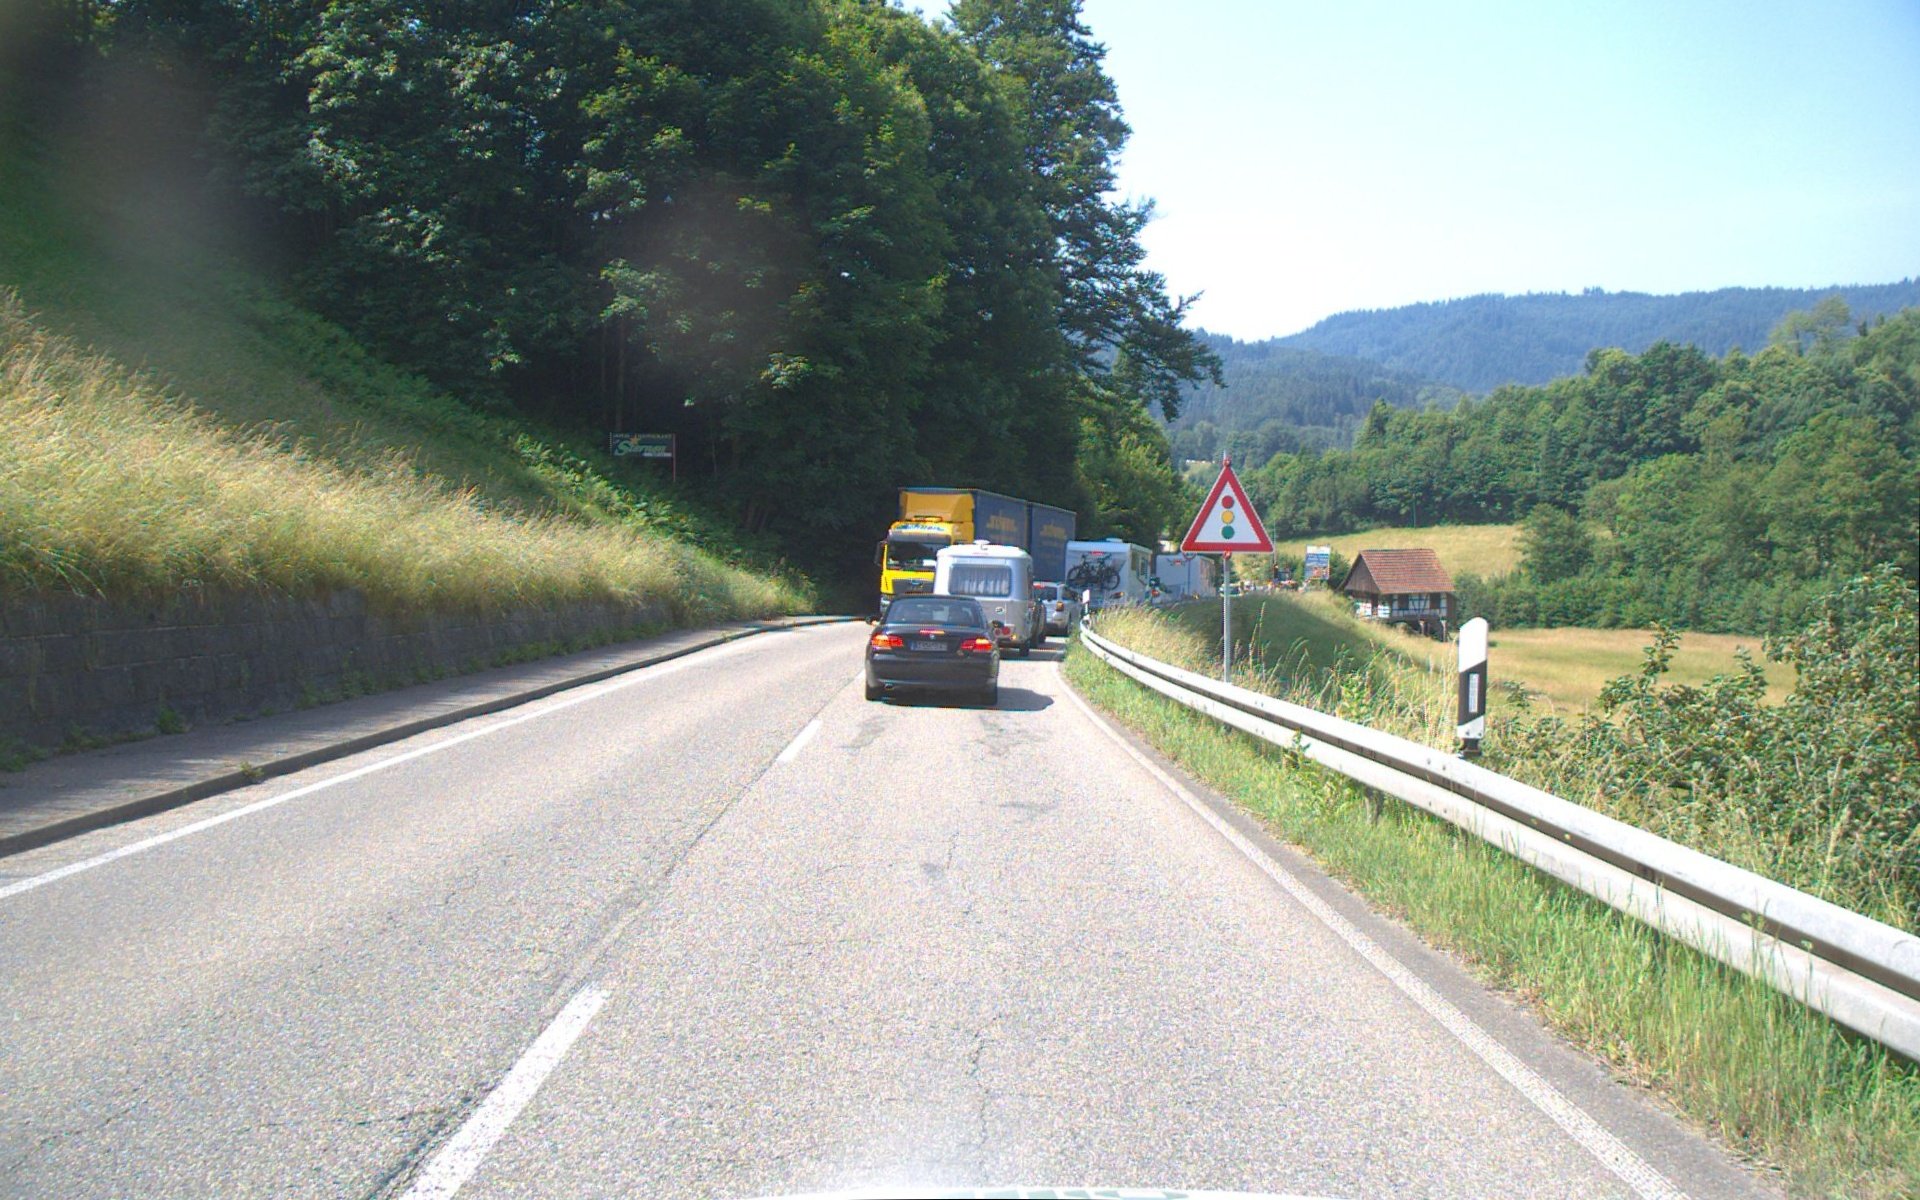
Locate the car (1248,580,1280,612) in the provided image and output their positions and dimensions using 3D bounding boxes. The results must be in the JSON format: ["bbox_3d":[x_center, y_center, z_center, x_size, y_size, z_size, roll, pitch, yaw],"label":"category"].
[{"bbox_3d":[20.684,-0.297,112.464,1.952,1.958,4.004,5,1,11],"label":"car"}]

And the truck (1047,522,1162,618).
[{"bbox_3d":[5.283,-1.077,59.289,2.732,3.049,6.873,4,2,16],"label":"truck"}]

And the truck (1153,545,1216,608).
[{"bbox_3d":[11.078,-1.113,81.247,2.190,2.853,6.236,2,0,15],"label":"truck"}]

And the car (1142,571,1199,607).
[{"bbox_3d":[9.539,-0.516,74.585,1.750,1.489,4.002,4,2,18],"label":"car"}]

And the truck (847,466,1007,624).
[{"bbox_3d":[-0.903,-1.691,51.587,3.121,4.472,6.577,3,2,15],"label":"truck"}]

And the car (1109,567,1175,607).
[{"bbox_3d":[7.603,-0.548,68.732,1.952,1.489,4.003,4,2,17],"label":"car"}]

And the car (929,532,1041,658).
[{"bbox_3d":[0.598,-0.177,34.780,1.951,2.393,4.918,2,2,5],"label":"car"}]

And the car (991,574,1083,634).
[{"bbox_3d":[2.235,0.083,46.861,1.951,1.510,4.004,4,1,11],"label":"car"}]

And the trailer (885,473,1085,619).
[{"bbox_3d":[1.318,-1.832,59.566,3.191,4.494,15.327,2,1,16],"label":"trailer"}]

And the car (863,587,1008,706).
[{"bbox_3d":[-0.387,0.556,22.087,1.736,1.359,3.765,2,1,-3],"label":"car"}]

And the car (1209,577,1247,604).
[{"bbox_3d":[16.750,-0.579,103.313,1.866,1.512,4.002,2,0,16],"label":"car"}]

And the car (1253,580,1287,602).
[{"bbox_3d":[24.399,-0.718,130.007,1.952,1.603,4.001,2,0,19],"label":"car"}]
